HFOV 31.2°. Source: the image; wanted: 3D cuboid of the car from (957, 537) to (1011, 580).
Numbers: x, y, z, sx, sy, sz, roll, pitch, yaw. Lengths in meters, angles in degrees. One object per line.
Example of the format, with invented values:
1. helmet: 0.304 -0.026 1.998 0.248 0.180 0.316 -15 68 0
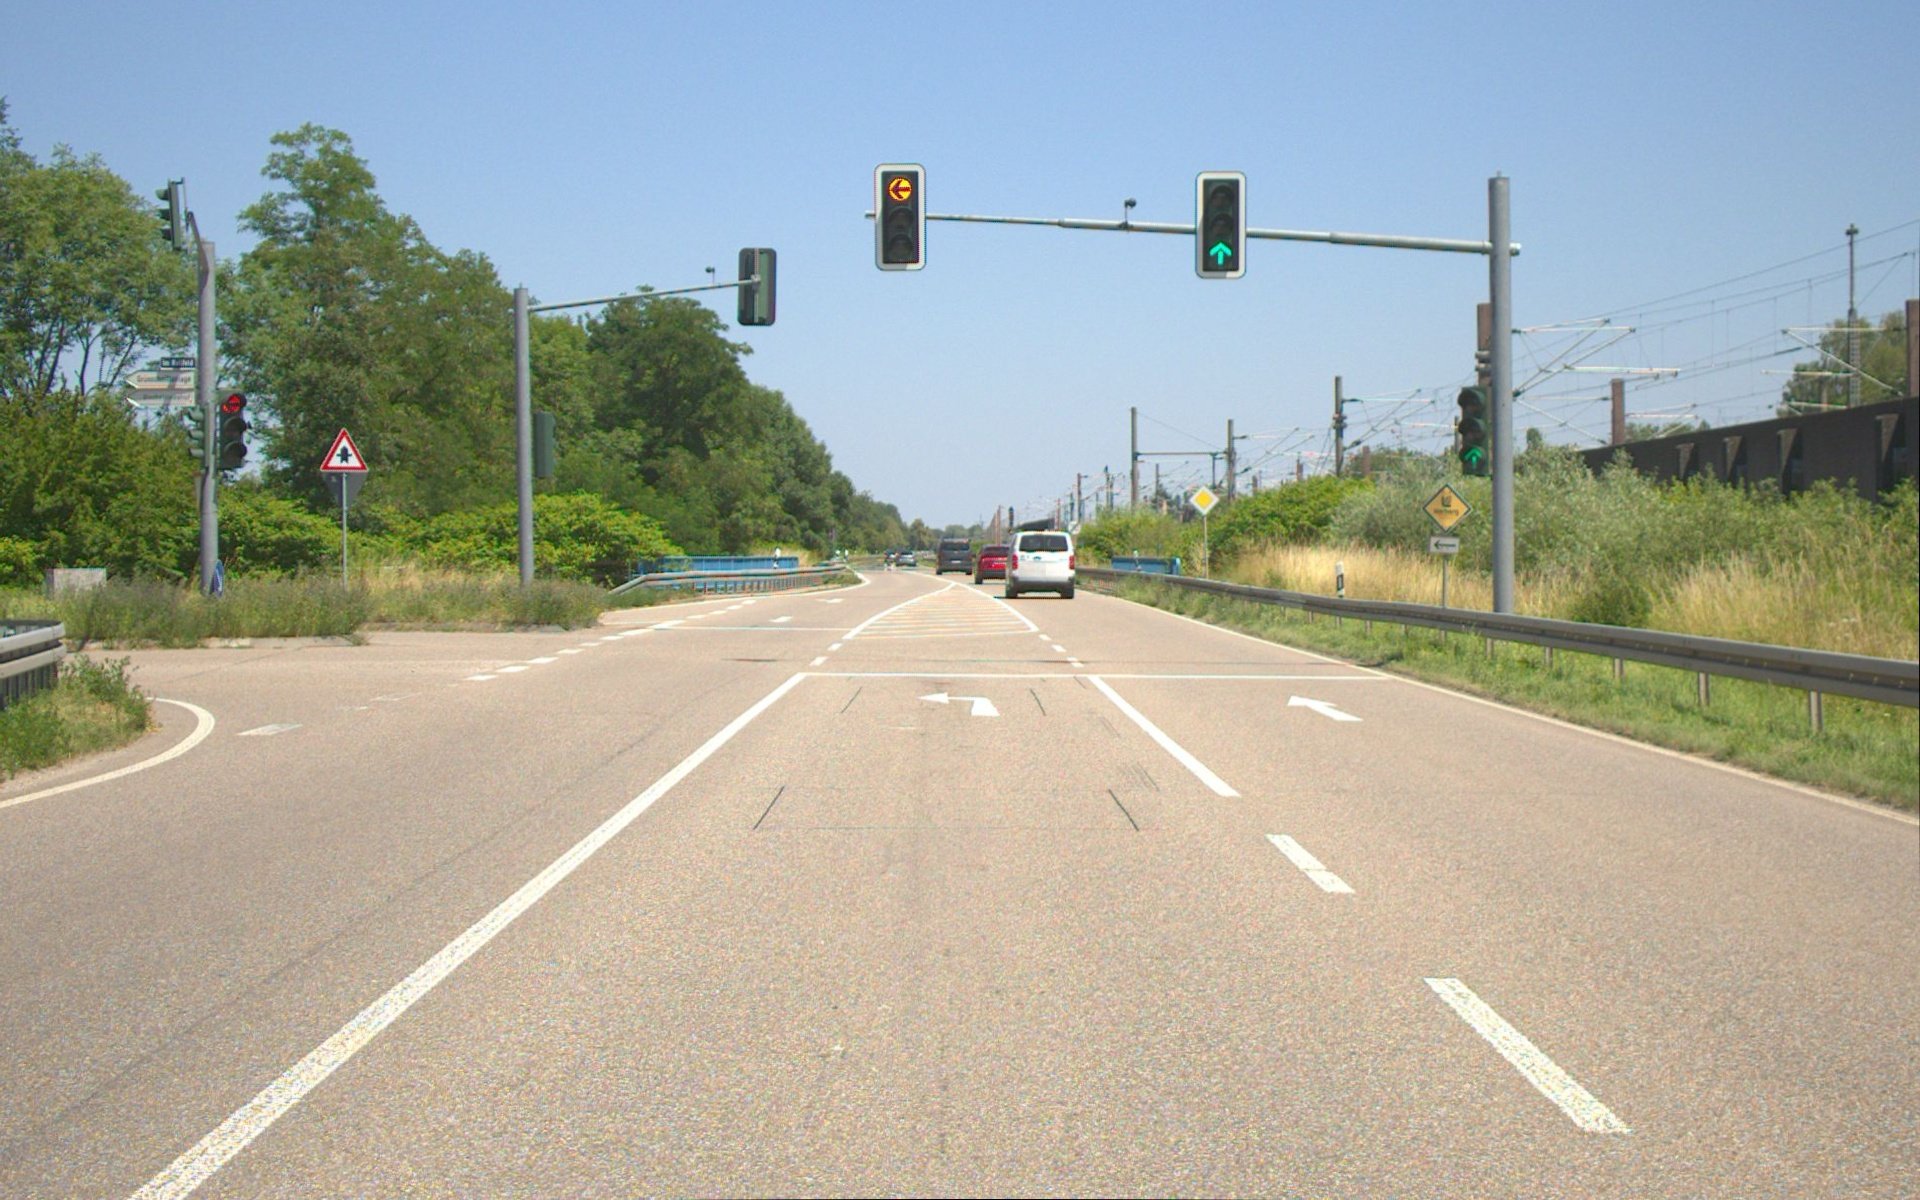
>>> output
1. car: 0.968 -1.697 141.356 2.019 1.720 4.543 1 1 -2

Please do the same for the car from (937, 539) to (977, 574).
1. car: -0.194 -2.498 197.938 2.154 1.961 4.543 1 1 -2

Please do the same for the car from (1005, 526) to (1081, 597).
1. car: 2.372 -1.125 99.148 1.993 1.977 4.060 1 1 -1
